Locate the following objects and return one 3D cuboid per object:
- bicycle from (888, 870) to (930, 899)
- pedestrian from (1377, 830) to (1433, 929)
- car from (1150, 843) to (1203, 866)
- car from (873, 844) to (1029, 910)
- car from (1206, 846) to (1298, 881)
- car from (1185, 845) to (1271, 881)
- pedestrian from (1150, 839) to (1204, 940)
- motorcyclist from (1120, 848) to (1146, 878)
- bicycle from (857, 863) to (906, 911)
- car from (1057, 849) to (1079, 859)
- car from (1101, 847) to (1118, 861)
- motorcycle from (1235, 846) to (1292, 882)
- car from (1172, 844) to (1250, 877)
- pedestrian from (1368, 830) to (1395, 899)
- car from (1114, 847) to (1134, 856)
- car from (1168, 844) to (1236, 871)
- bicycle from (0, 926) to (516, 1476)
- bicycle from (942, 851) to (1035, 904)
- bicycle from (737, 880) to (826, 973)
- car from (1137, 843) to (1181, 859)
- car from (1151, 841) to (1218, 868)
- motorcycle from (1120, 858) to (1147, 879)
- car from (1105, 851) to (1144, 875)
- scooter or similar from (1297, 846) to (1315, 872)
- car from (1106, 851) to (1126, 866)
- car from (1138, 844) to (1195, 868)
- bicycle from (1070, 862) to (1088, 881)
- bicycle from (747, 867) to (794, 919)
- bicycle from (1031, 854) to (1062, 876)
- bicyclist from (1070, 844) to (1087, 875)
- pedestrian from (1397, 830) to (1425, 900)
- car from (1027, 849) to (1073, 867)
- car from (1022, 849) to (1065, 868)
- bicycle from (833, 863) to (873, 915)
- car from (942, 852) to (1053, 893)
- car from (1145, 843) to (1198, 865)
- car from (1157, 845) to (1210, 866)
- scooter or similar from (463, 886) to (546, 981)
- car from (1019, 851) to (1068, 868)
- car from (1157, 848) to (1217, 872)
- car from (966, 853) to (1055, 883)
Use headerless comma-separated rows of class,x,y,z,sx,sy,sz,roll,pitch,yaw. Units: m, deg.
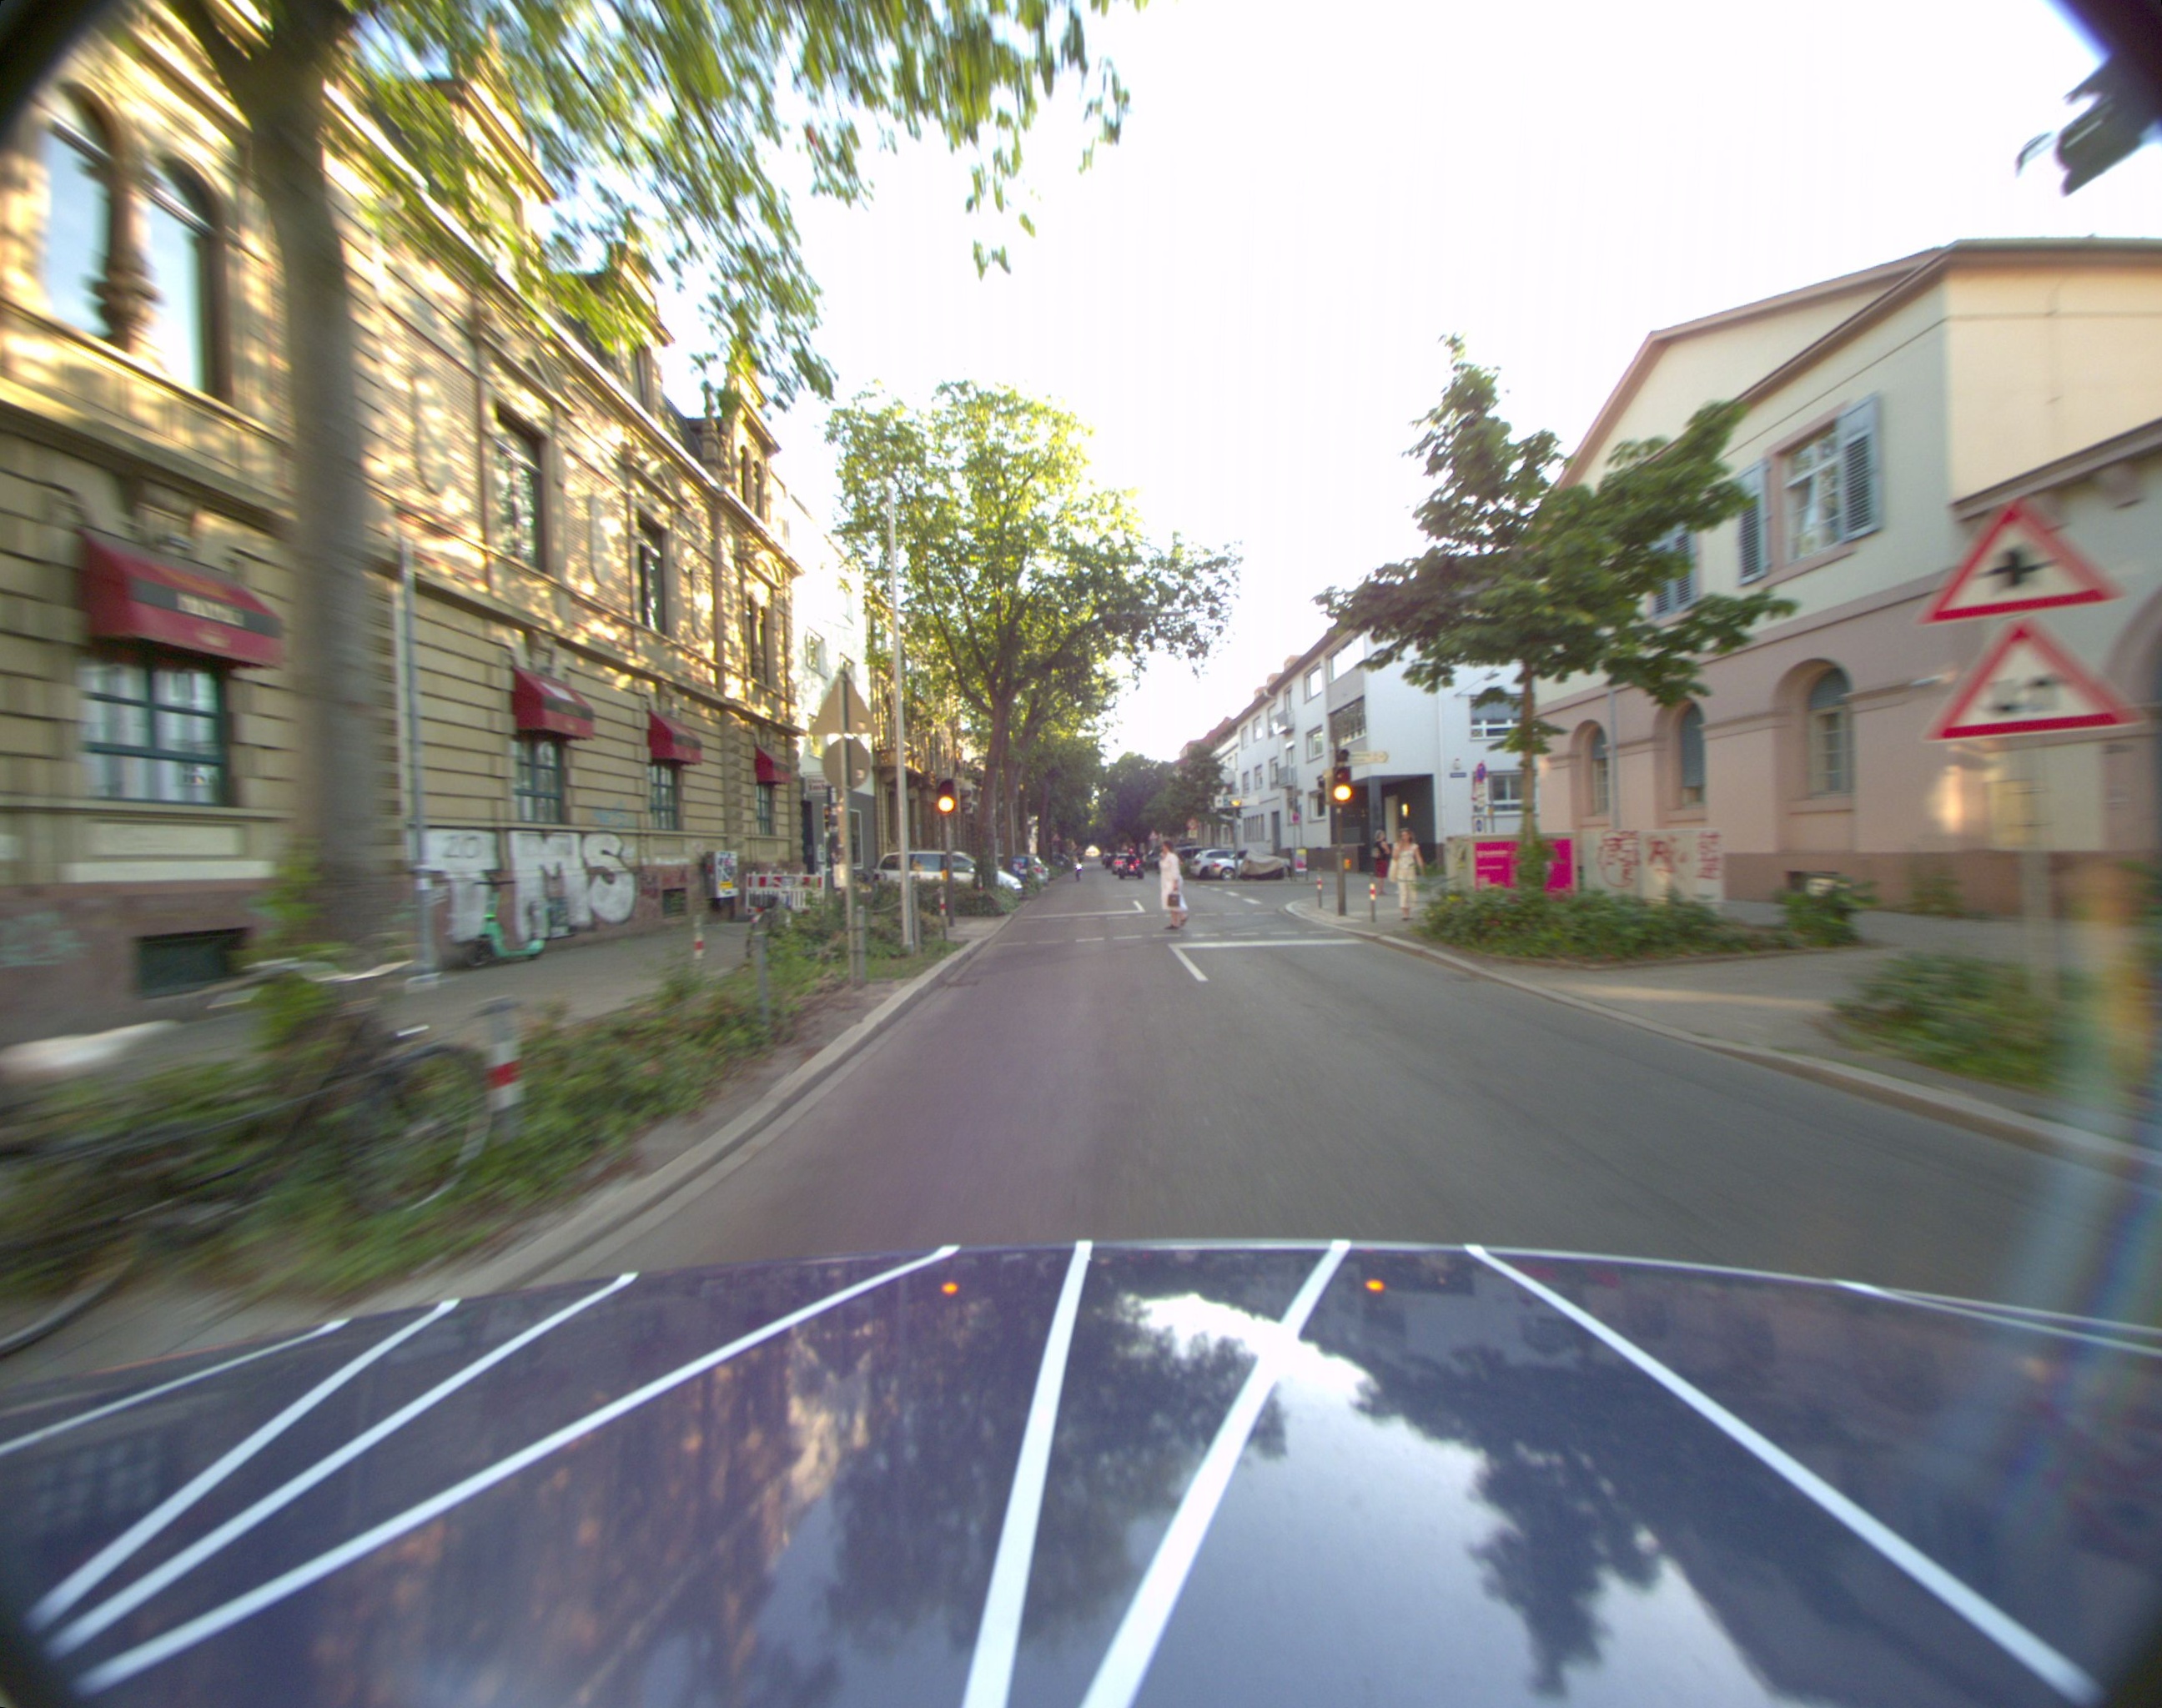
bicycle,-4.821,0.839,21.429,0.582,0.661,2.329,-3,1,1
pedestrian,6.160,0.474,14.432,0.791,1.780,0.772,-5,0,28
car,8.037,0.037,64.388,4.165,1.582,1.823,-5,1,1
car,-3.994,0.691,23.910,4.552,1.903,1.950,-1,1,-2
car,7.675,0.412,34.348,3.748,1.303,1.845,-4,0,5
car,7.145,0.412,37.144,3.751,1.450,1.735,-4,1,0
pedestrian,1.870,0.674,14.833,0.771,1.877,0.792,-2,1,-11
motorcyclist,2.864,0.507,41.900,1.283,1.583,1.077,-2,1,1
bicycle,-5.585,0.894,21.408,0.582,1.232,2.161,-2,1,5
car,-2.259,0.027,128.287,3.552,1.411,1.590,-5,0,-2
car,3.504,-0.040,95.521,1.882,1.631,4.645,-1,0,0
motorcycle,7.541,0.417,31.357,2.150,1.411,0.969,-1,1,22
car,7.401,0.356,43.518,4.103,1.622,1.936,-3,1,2
pedestrian,8.106,0.280,20.510,0.555,1.840,0.612,-2,1,15
car,8.381,-0.418,148.240,3.552,1.411,1.590,-5,0,1
car,7.756,0.235,48.963,4.085,1.432,1.755,-4,1,2
bicycle,-2.826,1.005,2.725,0.417,1.364,1.289,-1,1,12
bicycle,-3.193,0.806,26.484,3.122,1.653,0.658,-3,1,-4
bicycle,-4.430,1.018,11.396,0.525,1.145,2.248,-2,1,-3
car,8.442,-0.296,82.252,4.436,1.399,1.717,-4,2,-3
car,7.733,0.038,57.088,4.677,1.755,2.156,-3,1,0
motorcycle,2.863,0.795,41.872,1.315,1.084,2.396,-1,1,1
car,3.007,0.589,53.416,1.883,1.540,4.271,-1,0,-8
scooter or similar,11.434,0.255,38.635,0.516,1.254,1.420,-3,1,5
car,3.532,0.437,77.250,1.881,1.540,4.275,1,0,1
car,7.842,0.143,69.949,5.003,1.979,2.189,-2,0,0
bicycle,-0.084,0.932,40.976,0.778,0.967,2.025,-2,1,4
bicycle,-7.791,0.958,19.132,0.386,1.204,1.725,-2,1,3
bicycle,-2.369,0.766,52.738,2.051,1.352,0.508,-4,1,-1
bicyclist,-0.114,0.303,40.934,0.753,1.612,1.147,-3,1,4
pedestrian,8.828,0.284,20.349,0.555,1.840,0.612,-2,1,14
car,-3.109,0.373,76.848,4.451,1.708,1.968,-1,1,1
car,-3.627,0.440,74.379,4.017,1.677,1.765,-2,0,1
bicycle,-5.845,0.867,19.533,0.386,1.228,1.725,-2,1,3
car,-3.408,0.747,31.516,4.234,1.551,1.971,-1,0,4
car,7.978,-0.040,67.318,4.365,1.564,1.930,-5,1,1
car,8.011,0.146,59.723,3.855,1.442,1.855,-3,0,1
scooter or similar,-7.922,1.061,10.479,0.251,1.187,1.092,-2,0,2
car,-3.293,0.489,67.787,4.234,1.472,1.854,0,1,1
car,7.589,0.418,54.696,4.038,1.485,1.781,-4,1,4
car,-3.846,0.757,41.802,4.594,1.429,1.925,-2,0,3
